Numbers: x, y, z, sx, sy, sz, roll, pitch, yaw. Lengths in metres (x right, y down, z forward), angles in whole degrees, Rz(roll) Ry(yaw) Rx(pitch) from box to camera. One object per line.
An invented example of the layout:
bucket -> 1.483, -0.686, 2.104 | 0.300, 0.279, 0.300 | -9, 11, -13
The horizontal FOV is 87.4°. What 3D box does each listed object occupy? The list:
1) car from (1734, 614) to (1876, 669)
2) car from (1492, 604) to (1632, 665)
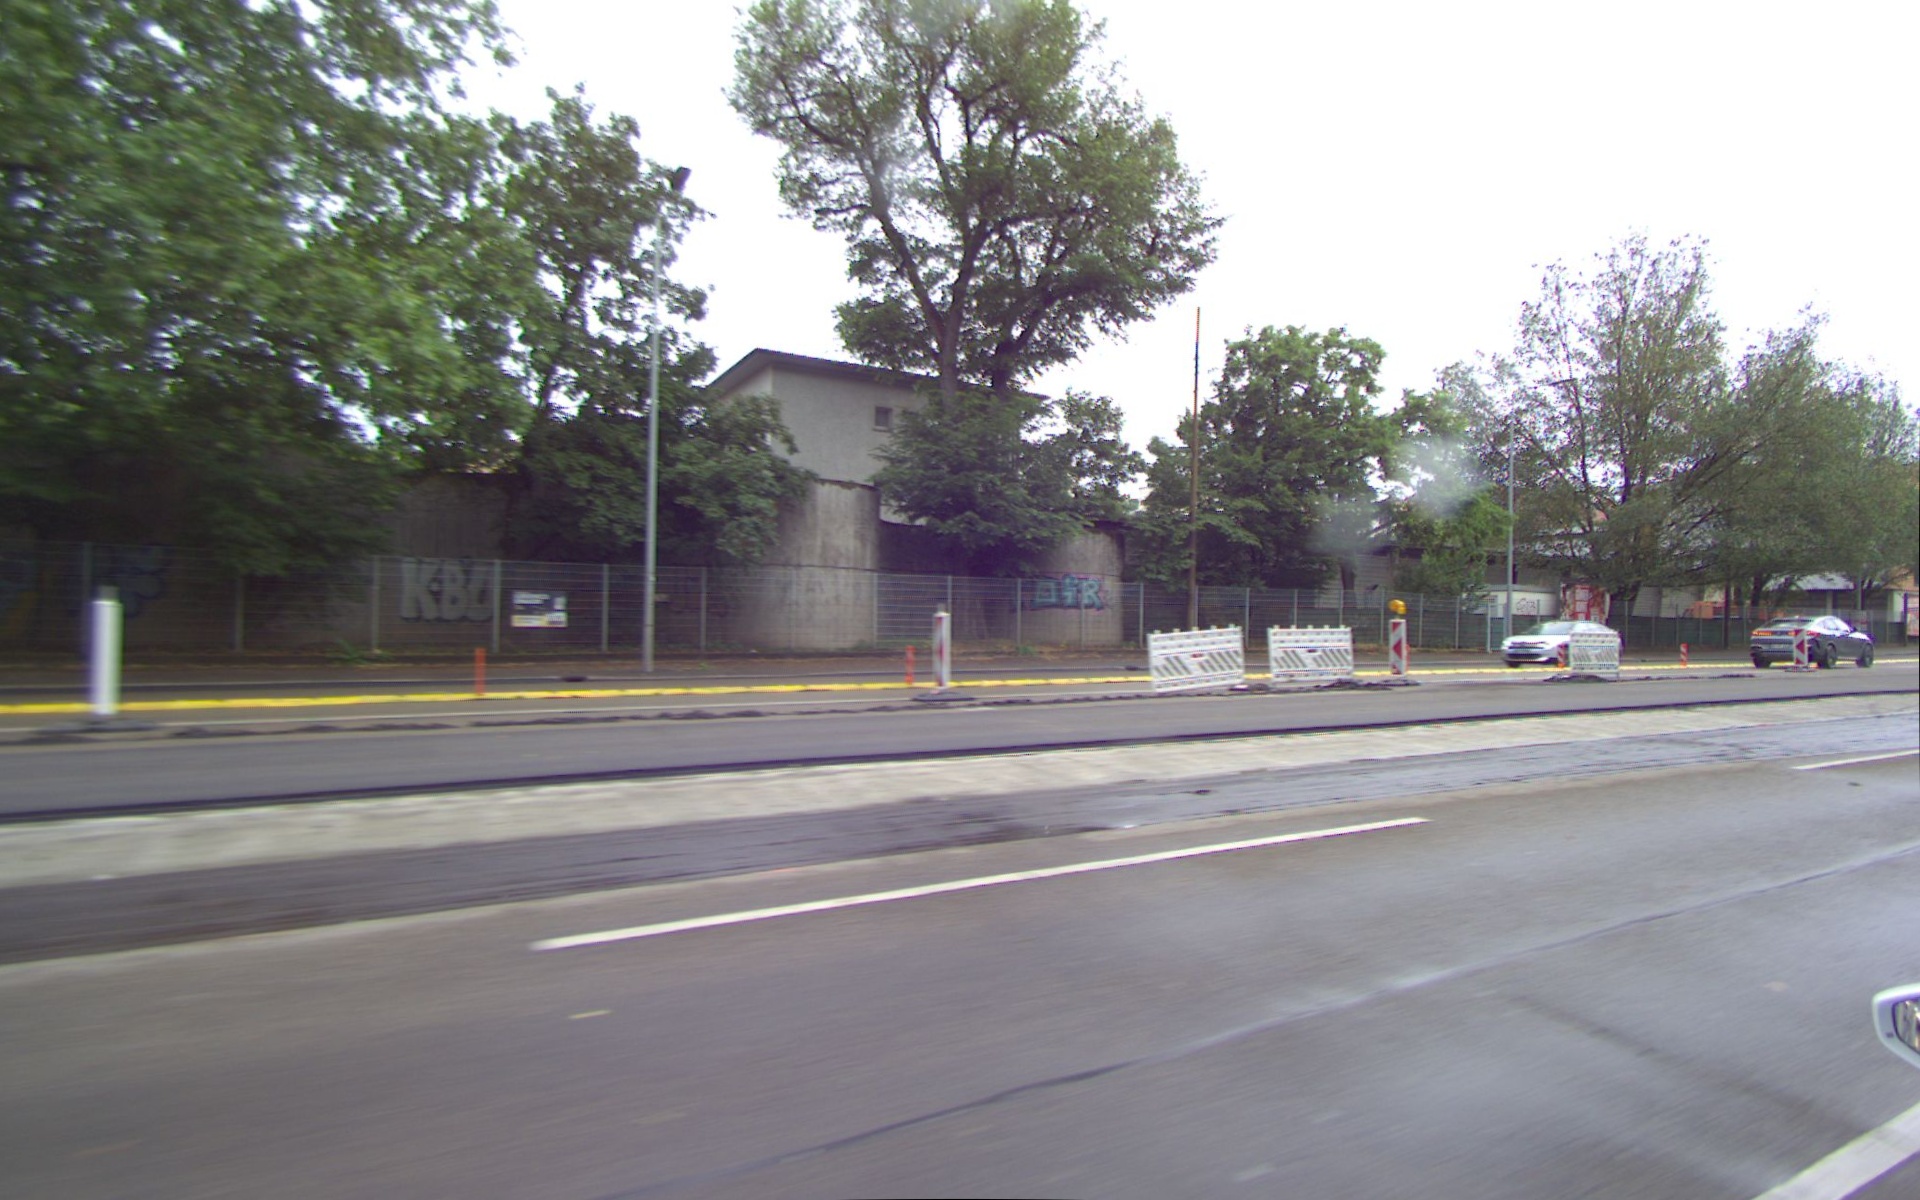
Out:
car -> 27.778, 1.356, 32.980 | 4.998, 1.635, 2.066 | 2, 0, -31
car -> 18.995, 1.071, 31.668 | 4.228, 1.790, 1.984 | 2, 0, -30
